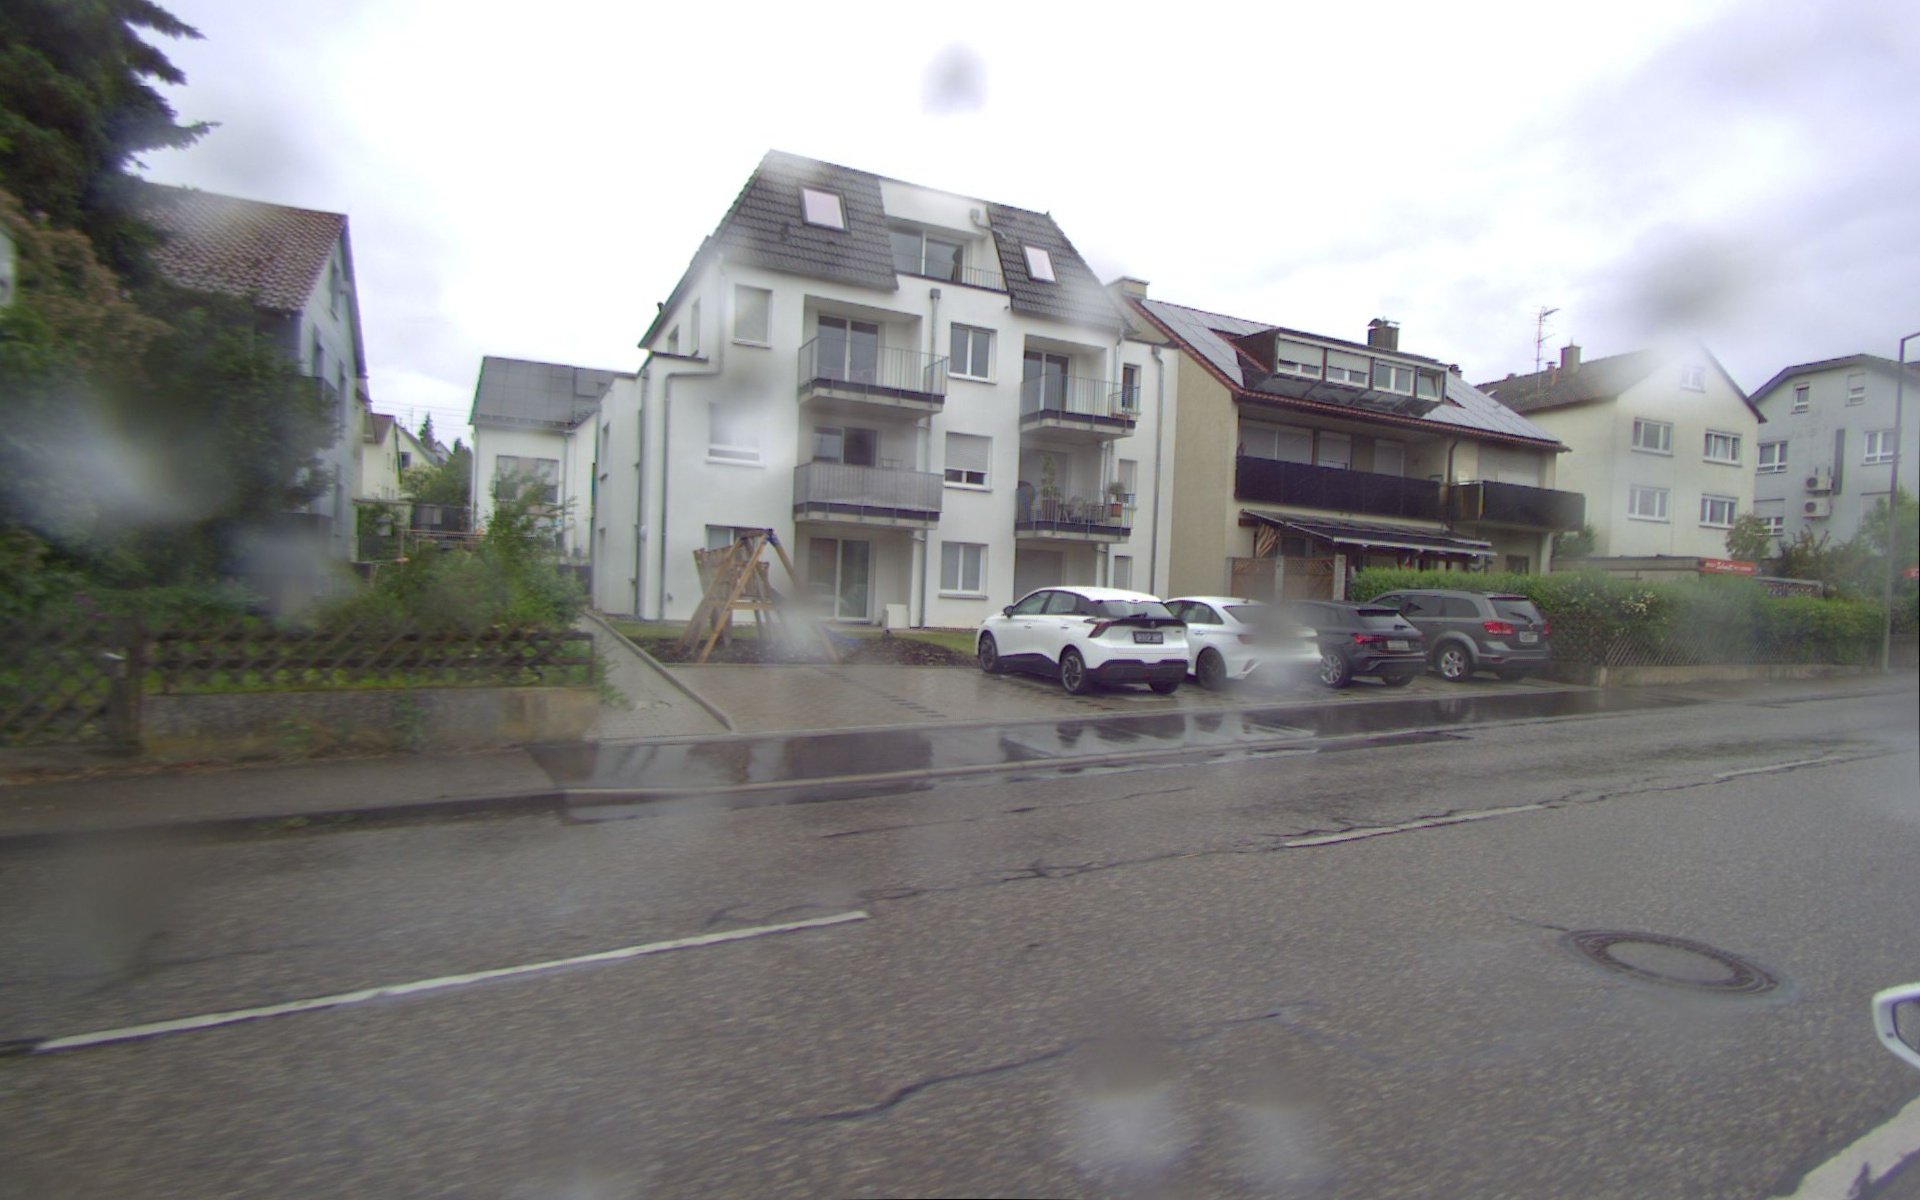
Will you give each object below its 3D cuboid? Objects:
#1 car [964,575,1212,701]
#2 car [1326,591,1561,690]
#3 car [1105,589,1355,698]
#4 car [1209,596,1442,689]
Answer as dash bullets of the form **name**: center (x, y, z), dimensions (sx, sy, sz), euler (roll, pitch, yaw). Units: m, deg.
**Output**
- **car**: center (1.834, 0.504, 15.801), dimensions (1.931, 1.606, 4.085), euler (2, 2, -25)
- **car**: center (9.306, 0.724, 19.684), dimensions (1.782, 1.709, 3.980), euler (2, 0, -21)
- **car**: center (4.334, 0.642, 16.811), dimensions (1.944, 1.454, 3.976), euler (2, 2, -24)
- **car**: center (6.432, 0.695, 18.156), dimensions (1.681, 1.465, 3.978), euler (2, 0, -23)
